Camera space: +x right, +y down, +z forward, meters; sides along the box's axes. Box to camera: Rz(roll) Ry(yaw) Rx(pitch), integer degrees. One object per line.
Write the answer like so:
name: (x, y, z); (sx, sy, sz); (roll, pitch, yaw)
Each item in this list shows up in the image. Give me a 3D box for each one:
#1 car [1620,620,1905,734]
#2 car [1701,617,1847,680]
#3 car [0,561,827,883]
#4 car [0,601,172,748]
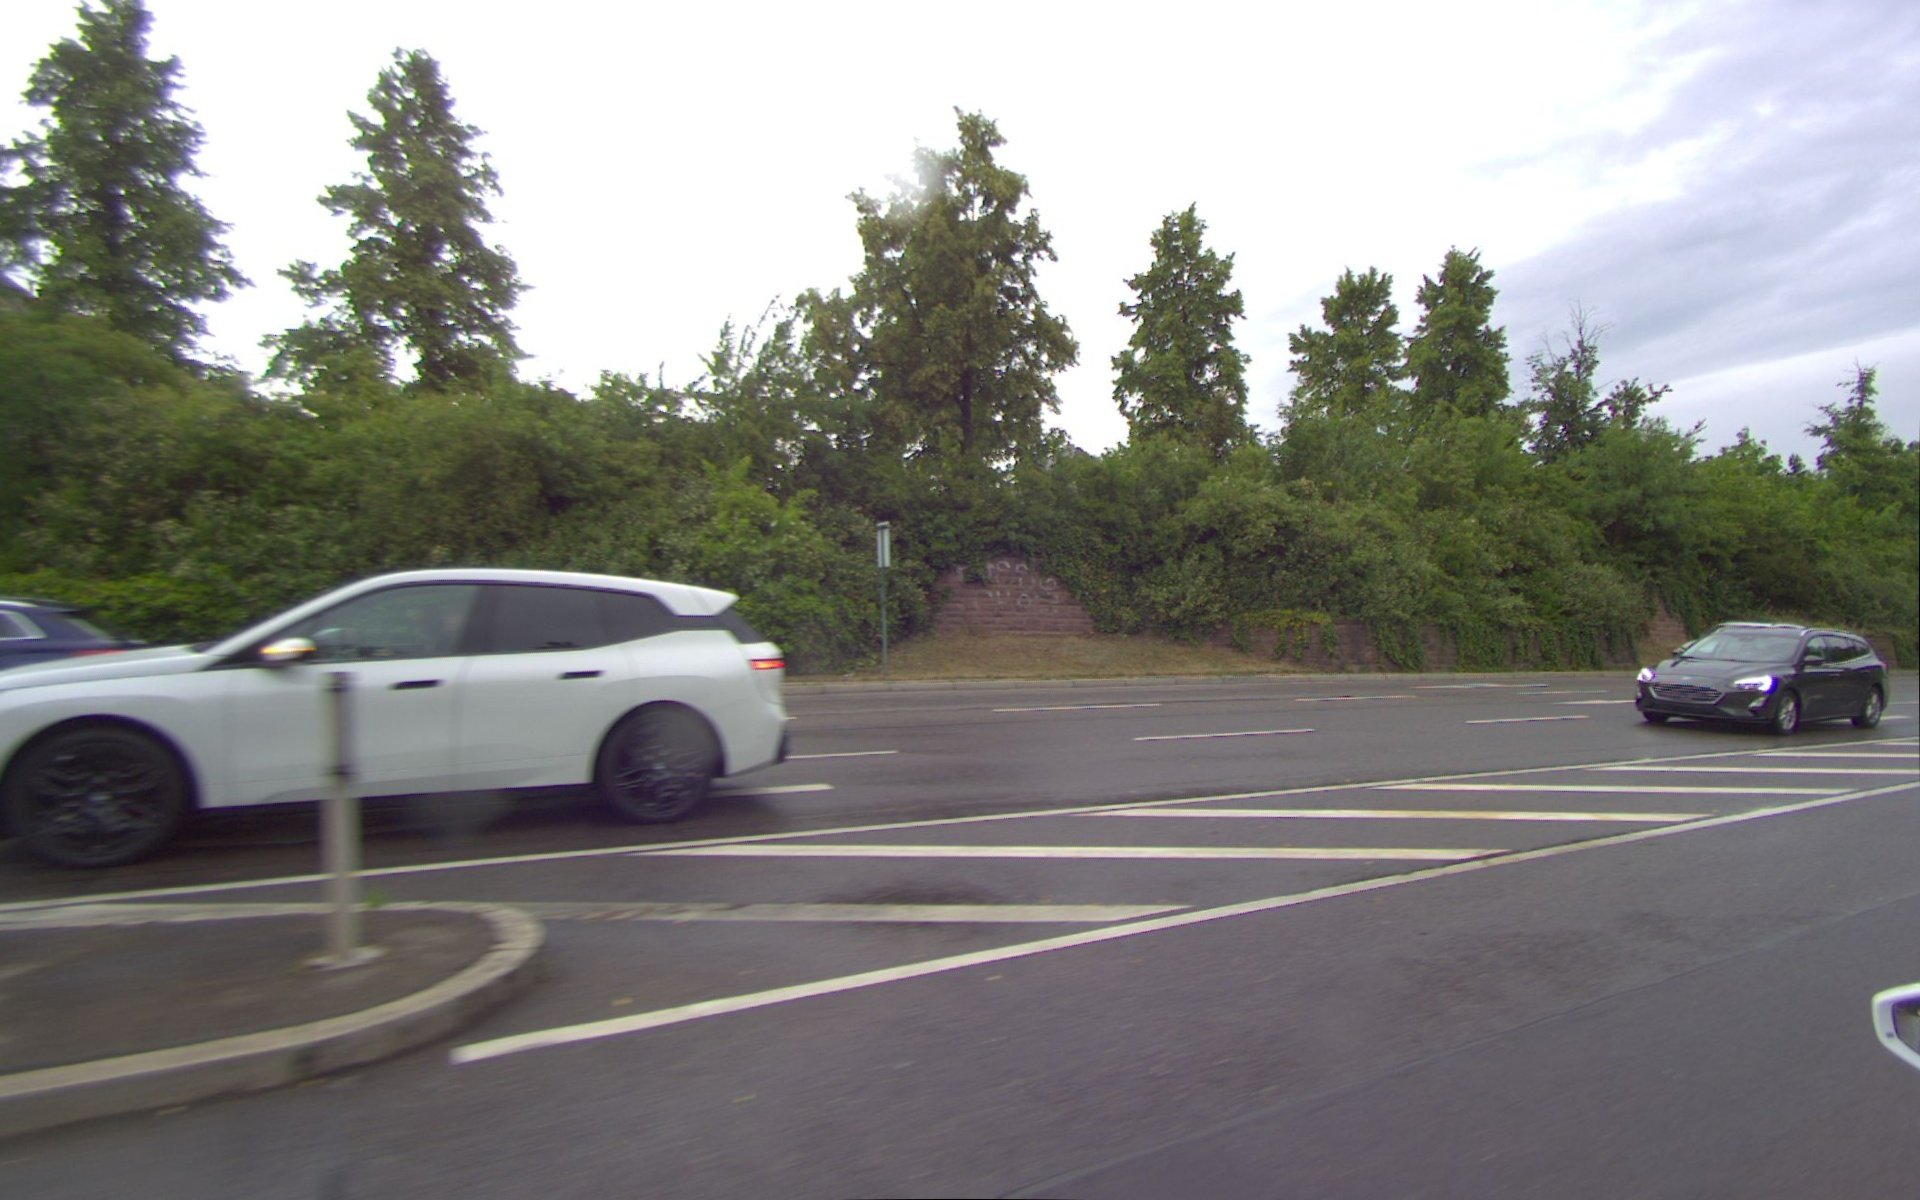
car: (12.149, 1.062, 15.152); (4.588, 1.491, 1.770); (1, -1, -29)
car: (22.347, 1.293, 27.554); (3.949, 1.612, 1.717); (1, -1, -28)
car: (-3.581, 0.661, 6.971); (4.940, 1.657, 1.938); (1, -1, -27)
car: (-11.031, 0.738, 10.256); (4.398, 1.457, 1.813); (1, -1, -28)
